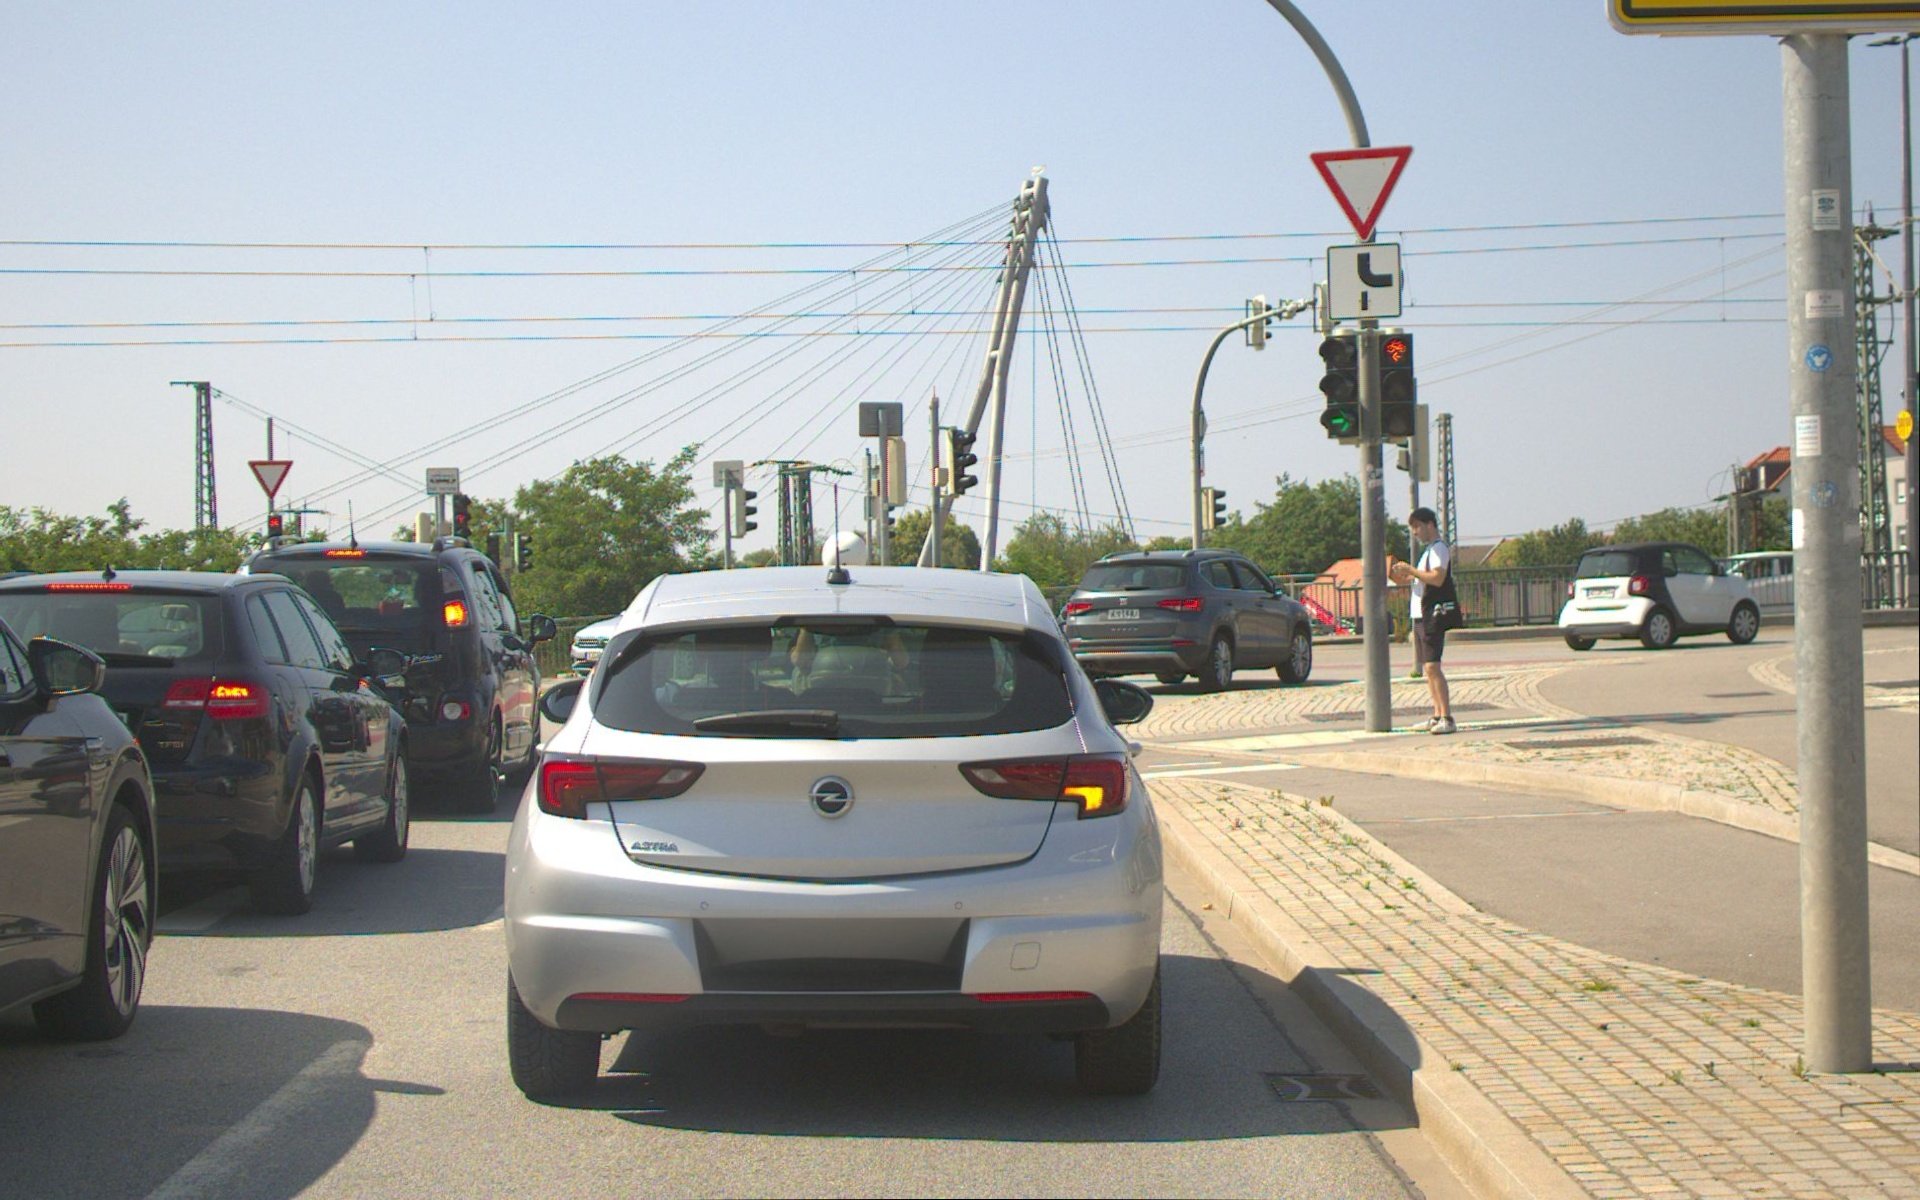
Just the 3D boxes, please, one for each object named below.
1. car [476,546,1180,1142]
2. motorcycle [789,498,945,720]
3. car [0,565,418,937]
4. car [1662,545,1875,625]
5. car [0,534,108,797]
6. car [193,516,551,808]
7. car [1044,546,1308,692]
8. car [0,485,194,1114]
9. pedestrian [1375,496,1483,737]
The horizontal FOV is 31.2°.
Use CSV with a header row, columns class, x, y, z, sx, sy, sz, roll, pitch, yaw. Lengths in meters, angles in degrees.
class,x,y,z,sx,sy,sz,roll,pitch,yaw
car,-0.407,0.607,10.613,1.743,1.473,4.000,1,0,-2
motorcycle,-0.498,0.079,17.573,0.501,1.010,2.174,-6,-1,-7
car,-3.472,0.575,15.208,1.575,1.429,3.786,1,0,-1
car,15.677,-0.290,66.710,3.623,1.481,1.691,1,0,-15
car,-6.475,0.371,21.224,1.597,1.542,3.763,1,0,-2
car,-3.512,0.343,21.113,1.649,1.610,3.820,1,0,-2
car,2.538,0.169,39.533,1.726,1.558,3.995,1,1,24
car,-3.387,0.508,8.924,1.801,1.636,4.366,1,0,0
pedestrian,3.642,0.125,26.753,0.647,1.830,0.798,-2,0,-2
